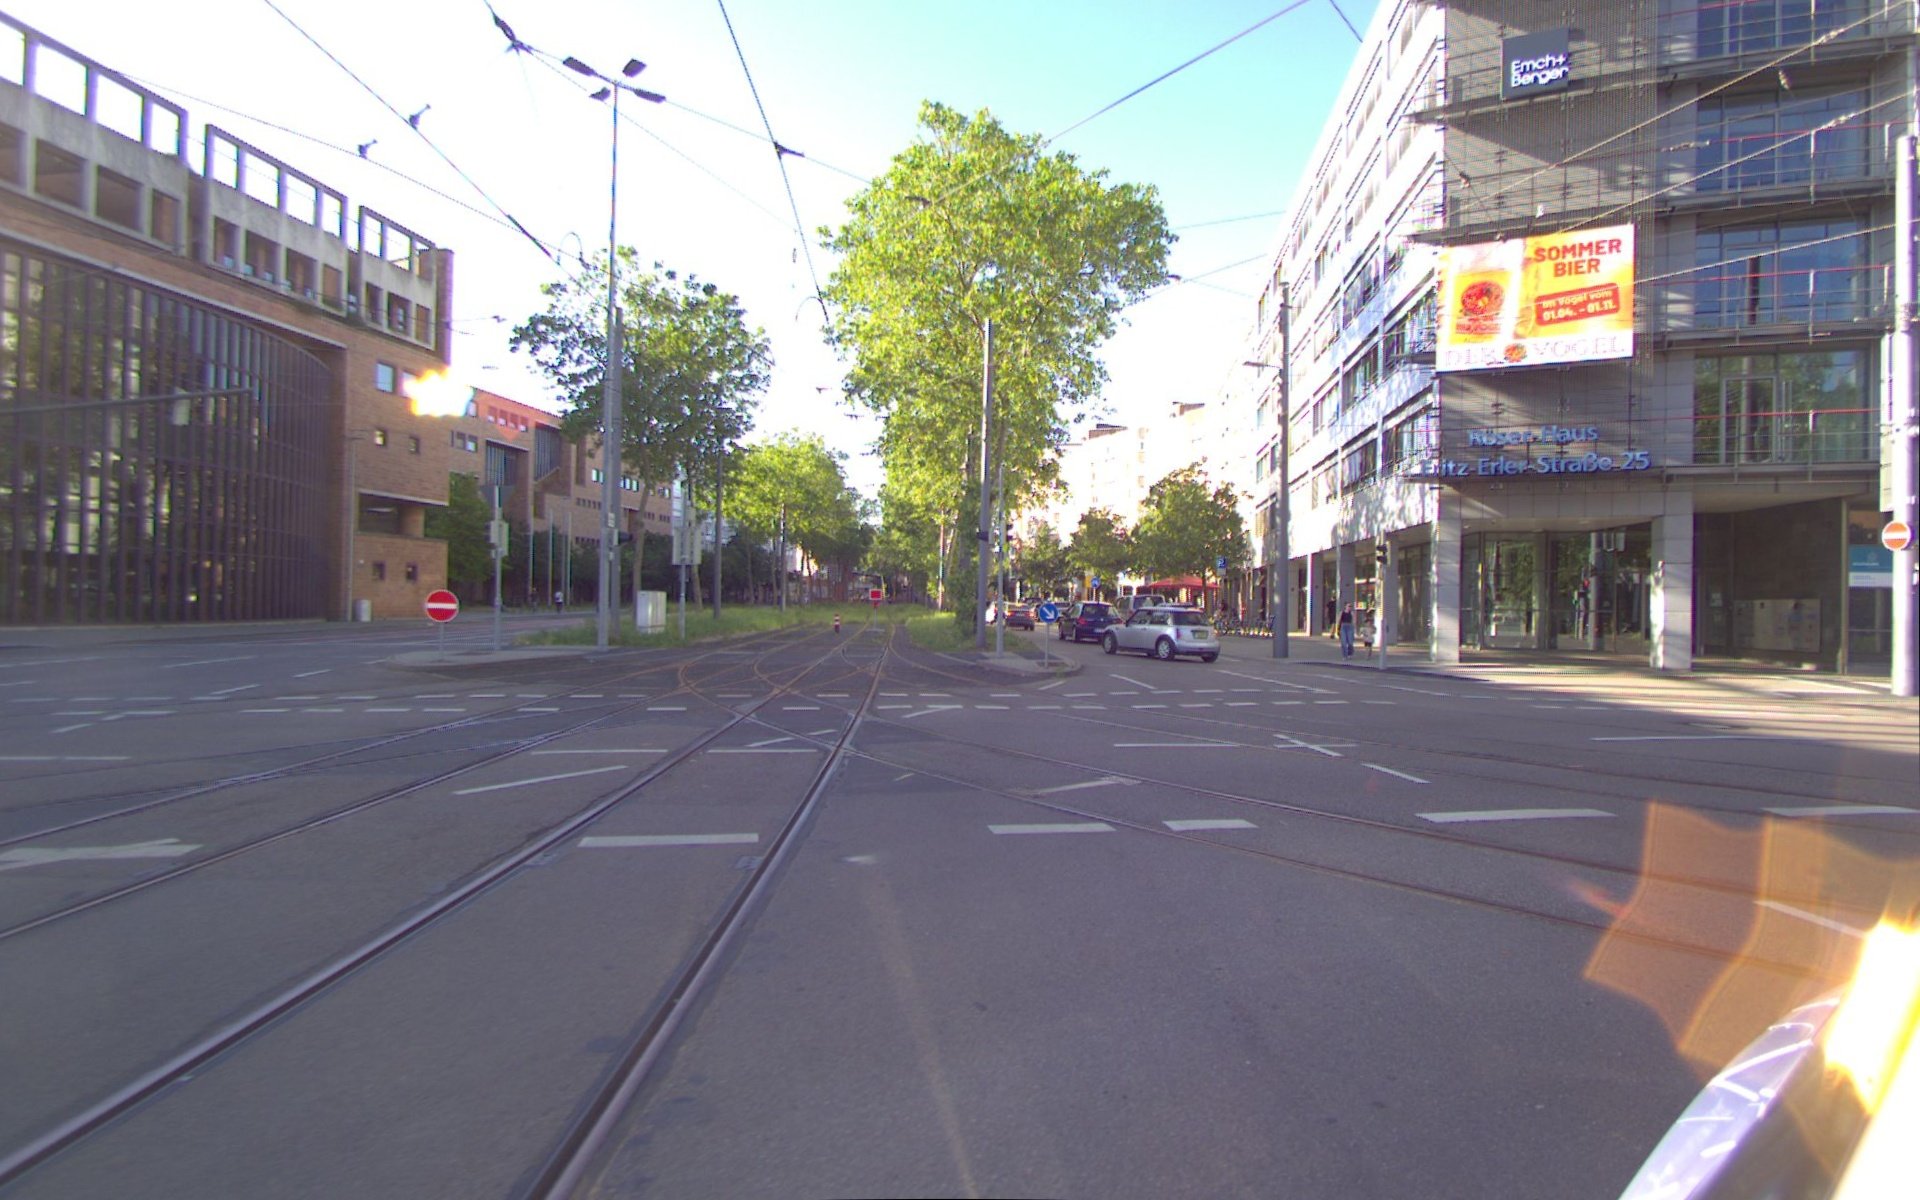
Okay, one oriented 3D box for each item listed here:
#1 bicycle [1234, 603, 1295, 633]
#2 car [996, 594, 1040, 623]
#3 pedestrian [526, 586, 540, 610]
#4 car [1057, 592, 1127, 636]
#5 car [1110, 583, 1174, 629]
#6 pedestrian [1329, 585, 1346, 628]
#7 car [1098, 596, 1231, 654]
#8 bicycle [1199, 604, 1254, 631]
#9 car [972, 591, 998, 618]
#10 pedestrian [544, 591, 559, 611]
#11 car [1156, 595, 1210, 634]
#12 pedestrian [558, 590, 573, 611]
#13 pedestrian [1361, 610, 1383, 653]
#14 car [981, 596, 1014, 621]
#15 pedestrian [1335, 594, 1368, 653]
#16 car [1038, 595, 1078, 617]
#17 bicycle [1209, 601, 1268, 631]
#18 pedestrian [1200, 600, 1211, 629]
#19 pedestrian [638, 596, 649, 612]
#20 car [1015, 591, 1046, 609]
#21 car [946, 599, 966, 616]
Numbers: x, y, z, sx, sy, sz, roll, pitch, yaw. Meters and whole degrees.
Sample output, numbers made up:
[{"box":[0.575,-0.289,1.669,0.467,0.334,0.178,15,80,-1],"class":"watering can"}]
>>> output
[{"box":[12.755,0.752,42.421,2.356,1.229,0.773,1,-1,10],"class":"bicycle"},{"box":[3.027,0.463,53.788,1.666,1.459,4.023,0,-1,-6],"class":"car"},{"box":[-29.098,-0.132,69.025,0.795,1.626,0.688,1,-1,-16],"class":"pedestrian"},{"box":[4.695,0.481,36.500,1.831,1.493,3.979,0,0,-3],"class":"car"},{"box":[8.326,0.269,46.738,1.830,2.042,4.461,0,0,-4],"class":"car"},{"box":[15.349,0.268,41.148,0.578,1.756,0.789,0,-2,15],"class":"pedestrian"},{"box":[5.440,0.635,27.304,1.632,1.406,3.542,2,0,-27],"class":"car"},{"box":[12.349,0.811,46.967,2.345,1.229,0.776,2,-1,-10],"class":"bicycle"},{"box":[2.000,0.338,81.021,1.667,2.082,3.985,0,0,-4],"class":"car"},{"box":[-28.835,0.076,71.419,0.797,1.401,0.687,1,-1,-1],"class":"pedestrian"},{"box":[9.034,0.562,41.189,1.836,1.493,3.968,0,0,8],"class":"car"},{"box":[-27.904,0.030,71.578,0.779,1.533,0.817,0,0,0],"class":"pedestrian"},{"box":[11.789,0.900,28.988,0.435,1.226,0.461,1,-1,3],"class":"pedestrian"},{"box":[2.371,0.536,64.491,1.667,1.493,3.985,0,0,-4],"class":"car"},{"box":[11.187,0.674,28.925,0.649,1.661,0.792,1,-1,3],"class":"pedestrian"},{"box":[6.823,0.400,70.716,1.829,1.493,3.983,1,0,-9],"class":"car"},{"box":[12.060,0.710,43.913,2.345,1.229,0.776,2,-1,-10],"class":"bicycle"},{"box":[14.873,0.897,61.330,0.626,1.756,0.791,0,-2,9],"class":"pedestrian"},{"box":[-28.526,0.388,91.199,0.797,1.401,0.687,1,-1,-1],"class":"pedestrian"},{"box":[6.078,-0.019,88.049,1.829,1.493,3.983,1,0,-9],"class":"car"},{"box":[-0.501,0.886,117.951,1.787,1.792,4.319,1,-2,-6],"class":"car"}]
